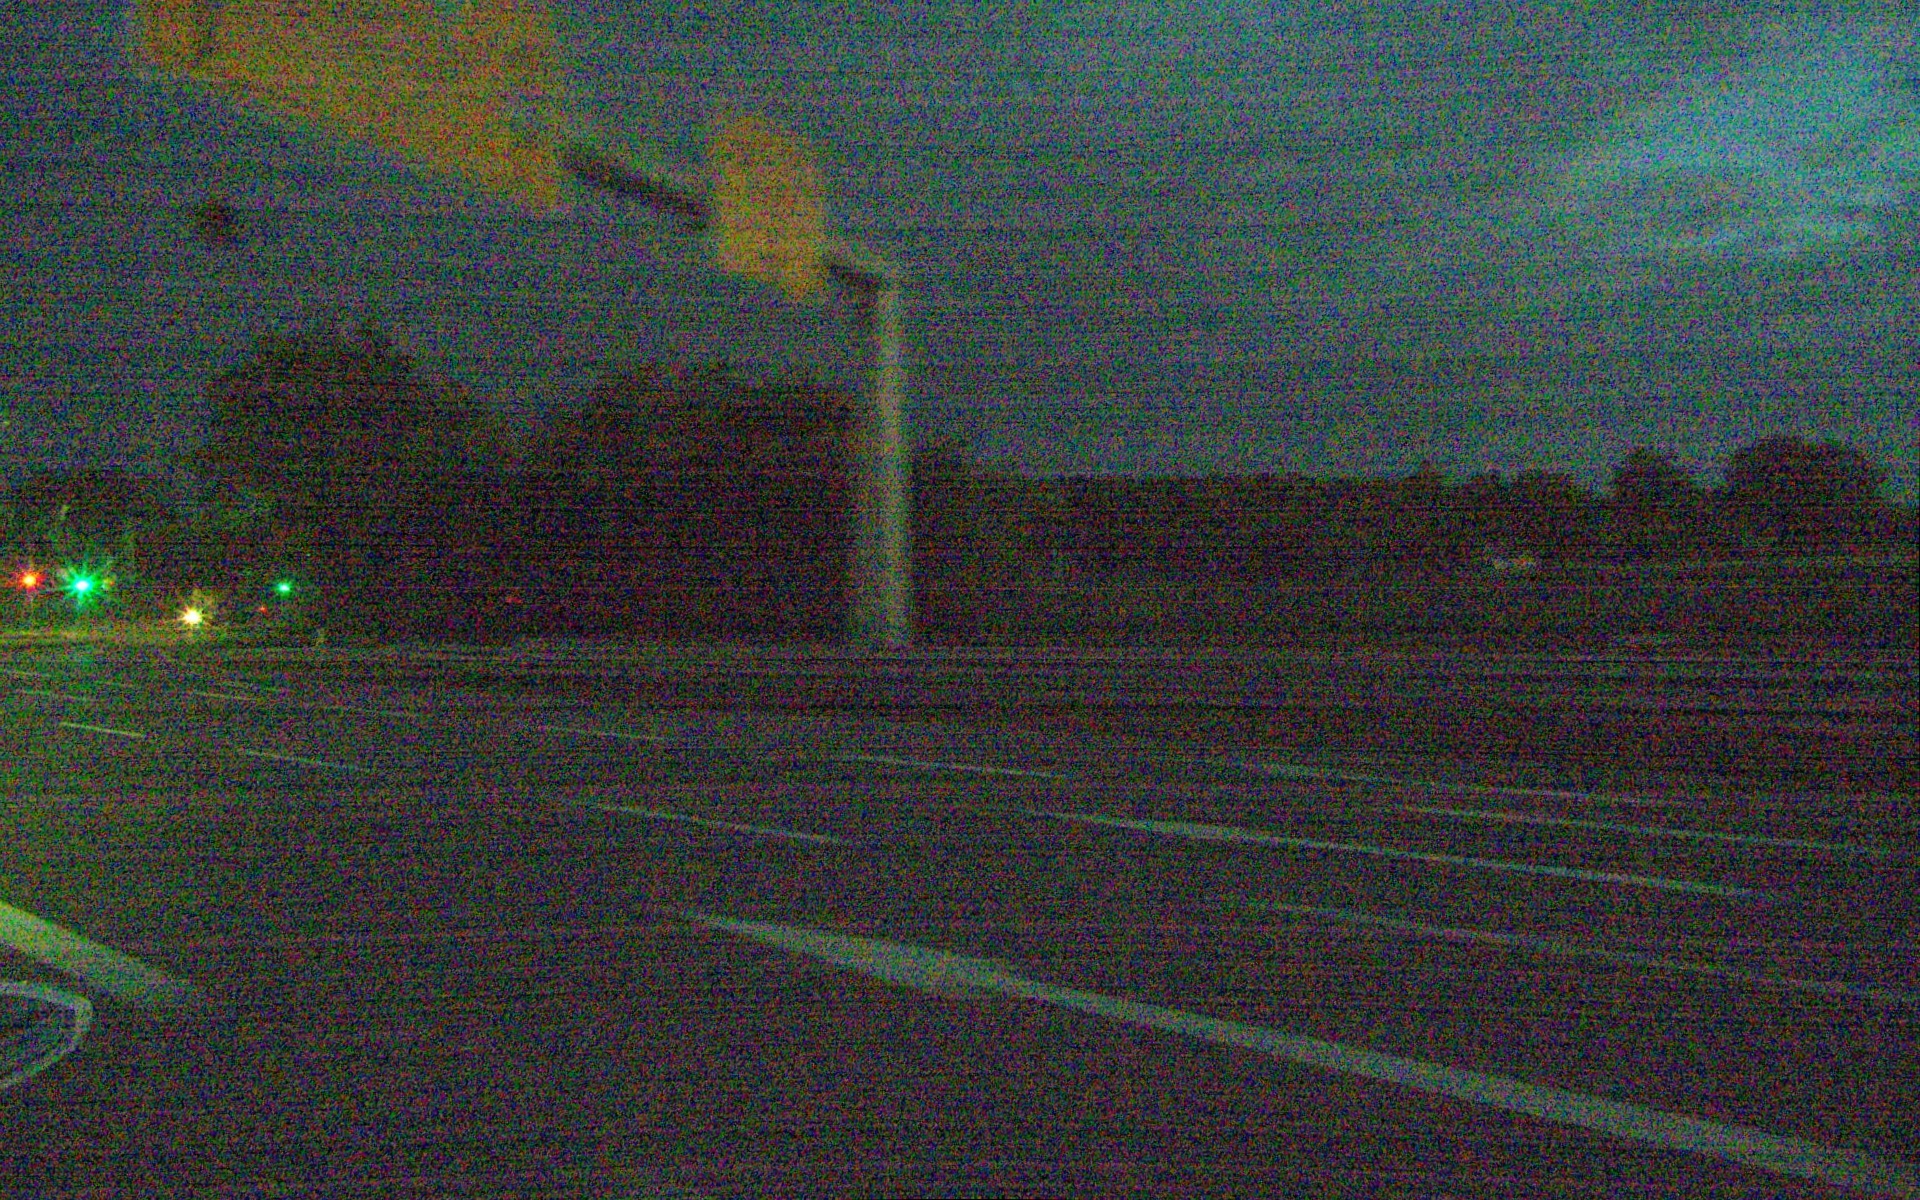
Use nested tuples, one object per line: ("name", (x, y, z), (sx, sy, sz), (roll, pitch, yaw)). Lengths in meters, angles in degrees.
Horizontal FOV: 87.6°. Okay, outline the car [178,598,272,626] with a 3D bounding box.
("car", (-43.266, 0.671, 59.023), (1.973, 1.590, 4.065), (1, 1, 32))
